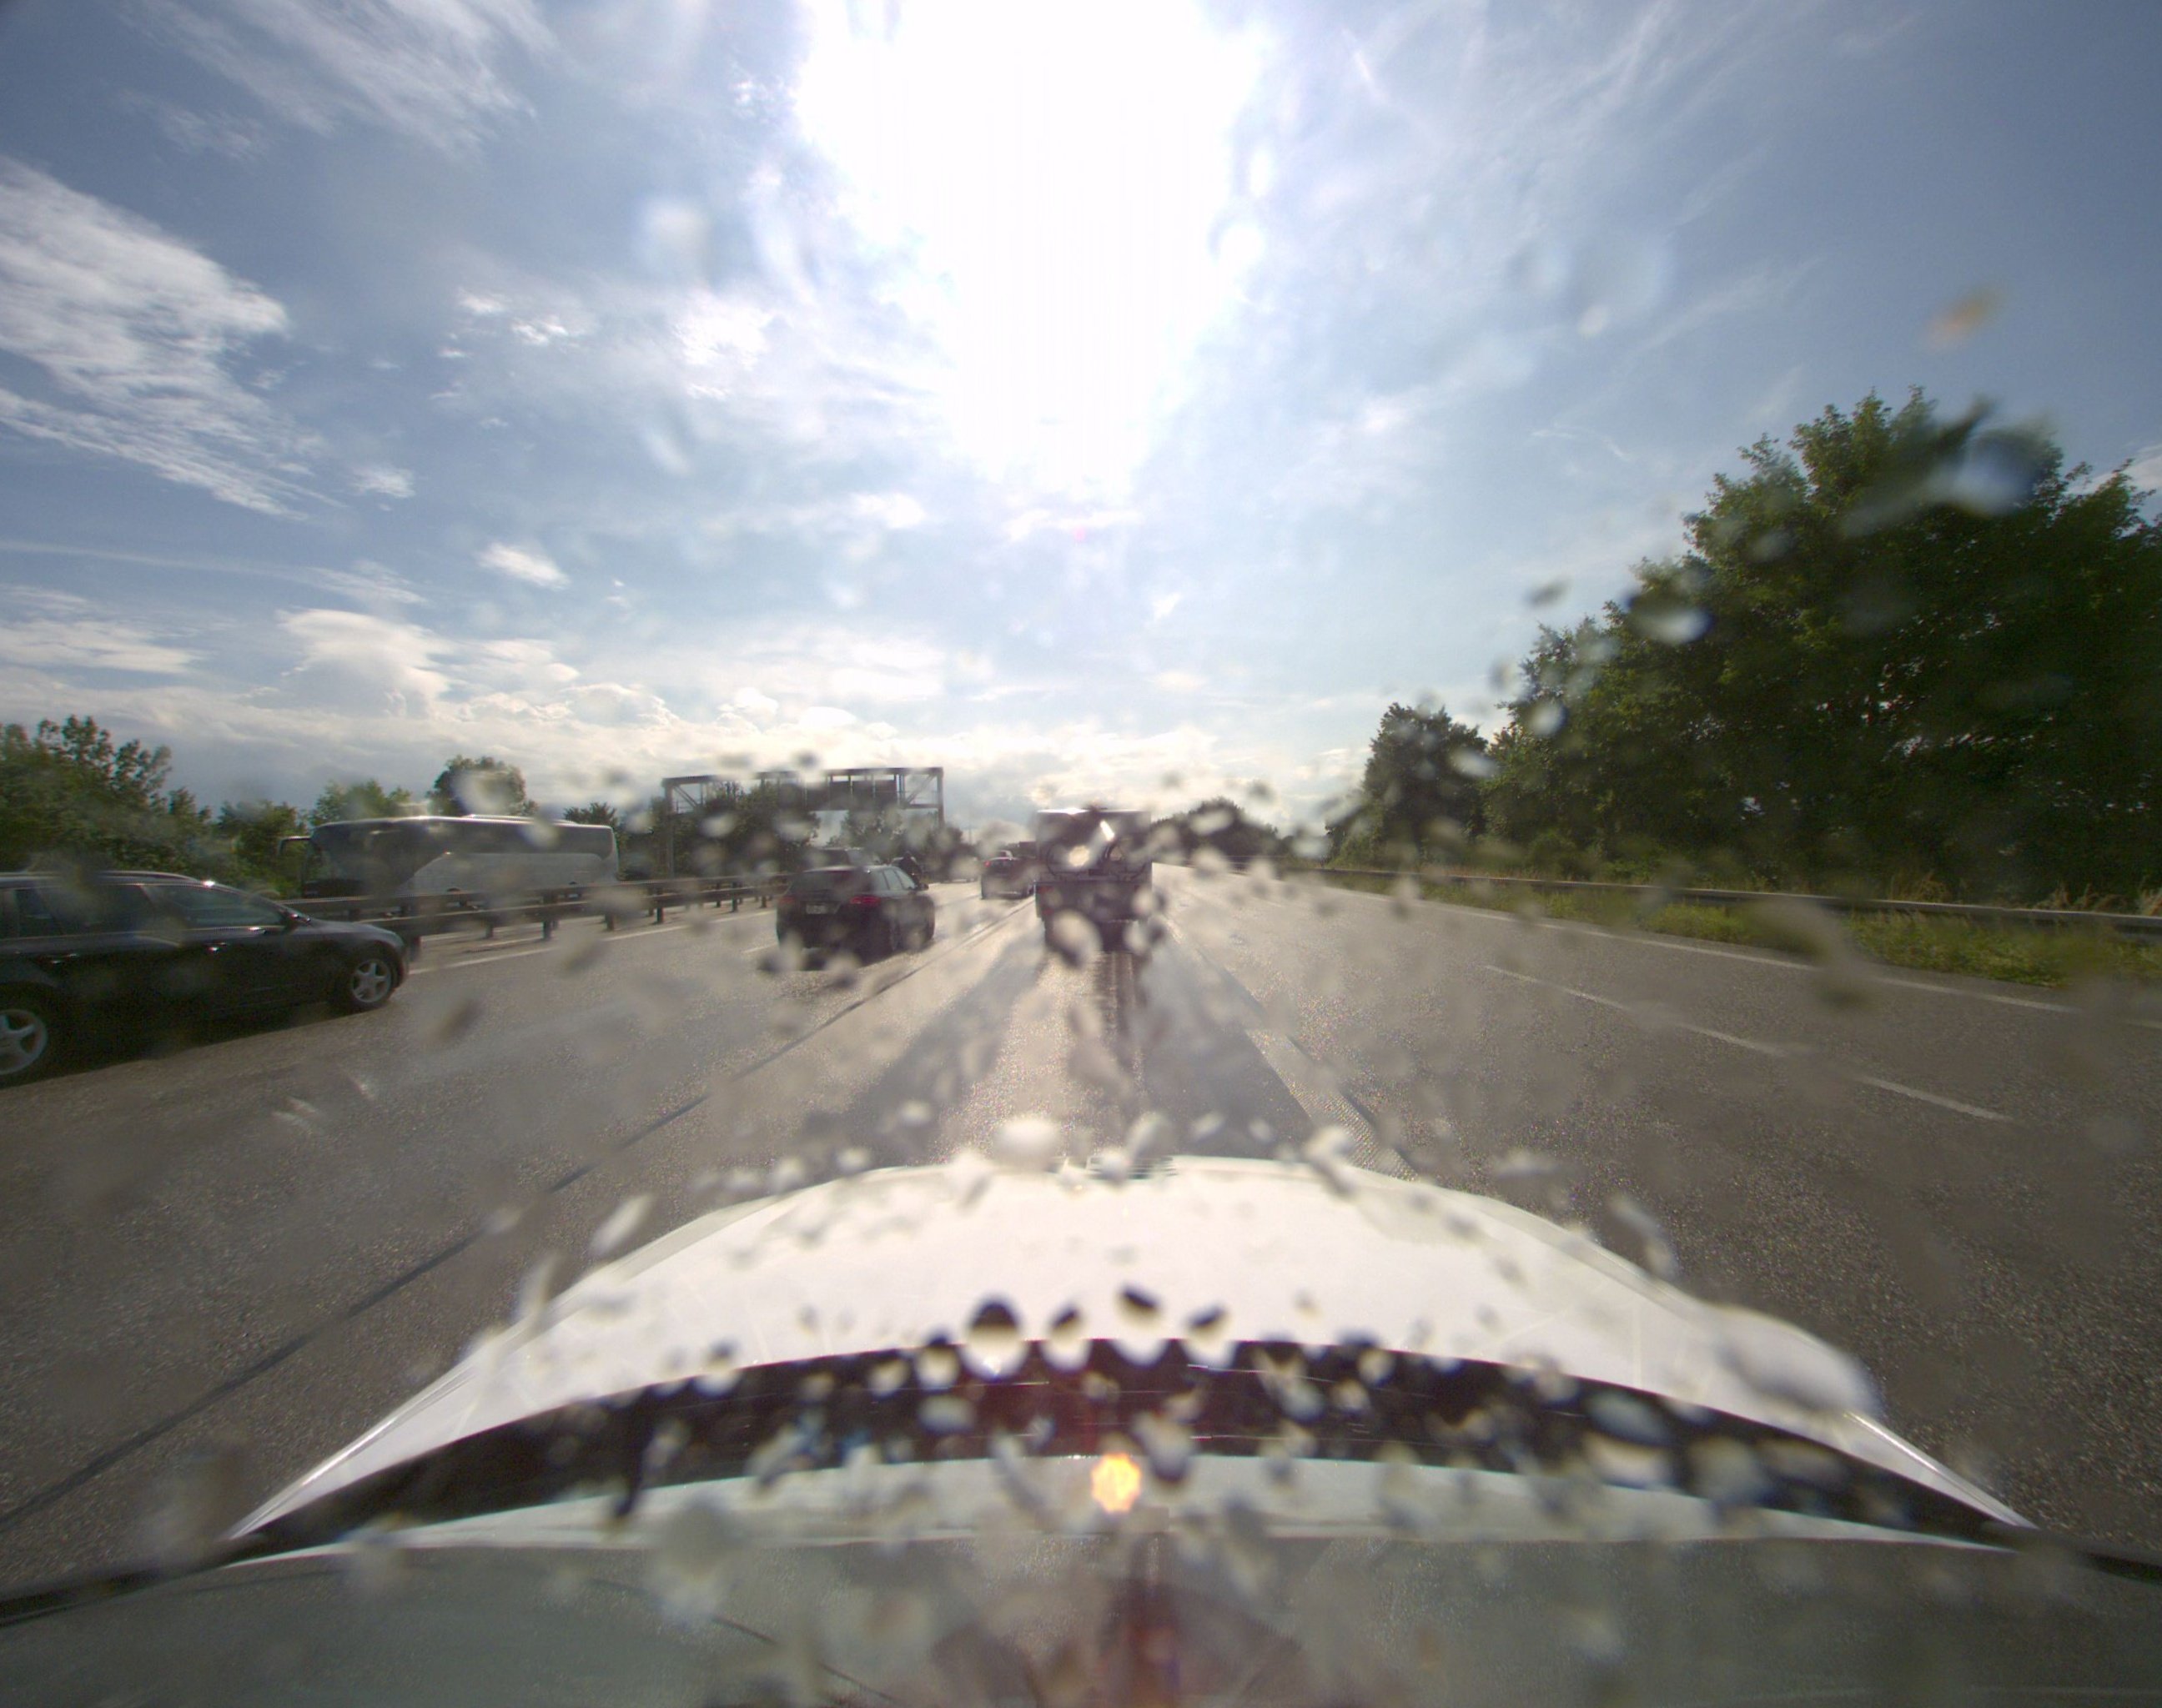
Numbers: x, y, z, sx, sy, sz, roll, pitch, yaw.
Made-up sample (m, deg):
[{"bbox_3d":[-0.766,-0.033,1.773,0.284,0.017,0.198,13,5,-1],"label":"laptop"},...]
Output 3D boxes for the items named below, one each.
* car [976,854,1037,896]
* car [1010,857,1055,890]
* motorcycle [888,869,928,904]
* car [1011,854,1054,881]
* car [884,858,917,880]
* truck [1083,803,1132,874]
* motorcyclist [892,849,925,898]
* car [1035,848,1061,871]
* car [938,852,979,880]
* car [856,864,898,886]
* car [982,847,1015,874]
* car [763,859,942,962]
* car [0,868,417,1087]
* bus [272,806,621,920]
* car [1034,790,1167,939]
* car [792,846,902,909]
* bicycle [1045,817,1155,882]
[{"bbox_3d":[-2.780,0.754,31.155,1.751,1.443,4.003,-1,0,3],"label":"car"},{"bbox_3d":[-2.299,0.898,39.435,1.856,1.508,4.001,-1,0,1],"label":"car"},{"bbox_3d":[-5.589,1.035,26.404,0.688,1.027,2.389,-1,0,2],"label":"motorcycle"},{"bbox_3d":[-2.678,0.723,46.066,1.979,1.458,3.829,-1,0,3],"label":"car"},{"bbox_3d":[-17.681,1.411,80.076,1.986,2.013,4.952,-1,0,1],"label":"car"},{"bbox_3d":[1.882,-1.025,58.923,3.135,4.626,10.738,-1,0,1],"label":"truck"},{"bbox_3d":[-5.589,0.621,26.396,0.793,1.537,1.093,-1,0,2],"label":"motorcyclist"},{"bbox_3d":[-2.477,0.428,61.360,1.682,1.662,3.642,-1,0,2],"label":"car"},{"bbox_3d":[-7.285,0.713,48.706,1.777,1.578,3.916,-1,0,1],"label":"car"},{"bbox_3d":[-13.883,1.407,55.736,1.769,1.442,4.001,-1,0,1],"label":"car"},{"bbox_3d":[-6.344,0.492,63.071,1.841,1.934,5.018,-1,0,2],"label":"car"},{"bbox_3d":[-3.655,0.832,13.789,1.743,1.433,4.056,-1,0,2],"label":"car"},{"bbox_3d":[-8.243,0.877,6.684,1.913,1.425,4.373,-1,0,1],"label":"car"},{"bbox_3d":[-22.144,0.271,30.082,2.928,3.286,12.217,-1,0,2],"label":"bus"},{"bbox_3d":[0.456,0.203,16.786,2.401,2.674,4.003,-1,0,3],"label":"car"},{"bbox_3d":[-7.545,0.705,26.865,1.799,1.844,5.422,-1,0,3],"label":"car"},{"bbox_3d":[0.347,-0.078,14.586,1.925,1.141,0.384,-1,-1,3],"label":"bicycle"}]
